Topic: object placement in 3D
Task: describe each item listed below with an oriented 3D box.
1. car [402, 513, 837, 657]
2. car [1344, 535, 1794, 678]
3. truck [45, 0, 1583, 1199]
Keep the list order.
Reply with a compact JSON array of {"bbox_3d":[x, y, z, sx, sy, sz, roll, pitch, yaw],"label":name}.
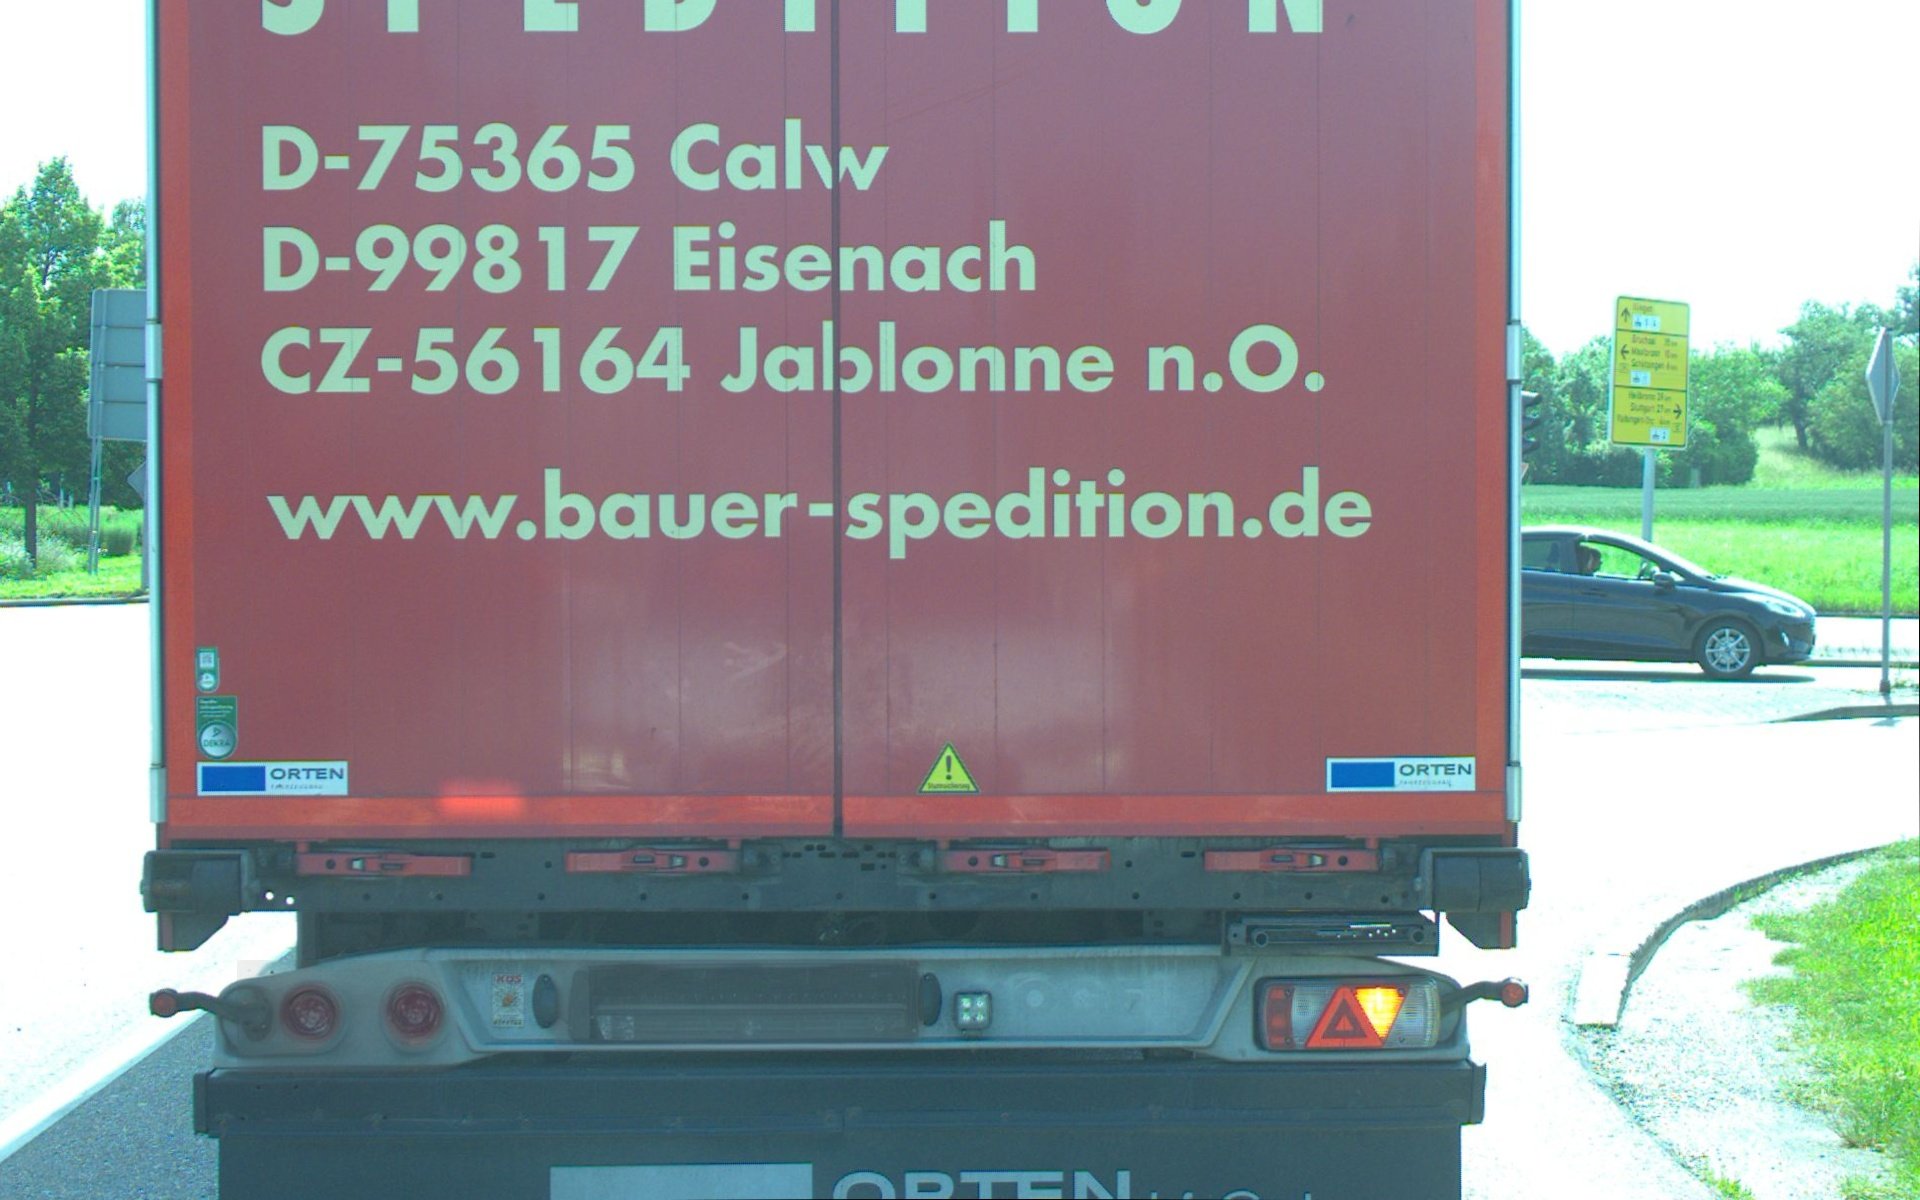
[{"bbox_3d":[-3.619,-0.174,36.741,4.269,1.424,1.741,1,1,14],"label":"car"},{"bbox_3d":[6.053,0.050,34.101,4.269,1.300,1.741,1,1,13],"label":"car"},{"bbox_3d":[-0.389,-0.799,14.448,2.734,3.911,16.627,0,1,-1],"label":"truck"}]
